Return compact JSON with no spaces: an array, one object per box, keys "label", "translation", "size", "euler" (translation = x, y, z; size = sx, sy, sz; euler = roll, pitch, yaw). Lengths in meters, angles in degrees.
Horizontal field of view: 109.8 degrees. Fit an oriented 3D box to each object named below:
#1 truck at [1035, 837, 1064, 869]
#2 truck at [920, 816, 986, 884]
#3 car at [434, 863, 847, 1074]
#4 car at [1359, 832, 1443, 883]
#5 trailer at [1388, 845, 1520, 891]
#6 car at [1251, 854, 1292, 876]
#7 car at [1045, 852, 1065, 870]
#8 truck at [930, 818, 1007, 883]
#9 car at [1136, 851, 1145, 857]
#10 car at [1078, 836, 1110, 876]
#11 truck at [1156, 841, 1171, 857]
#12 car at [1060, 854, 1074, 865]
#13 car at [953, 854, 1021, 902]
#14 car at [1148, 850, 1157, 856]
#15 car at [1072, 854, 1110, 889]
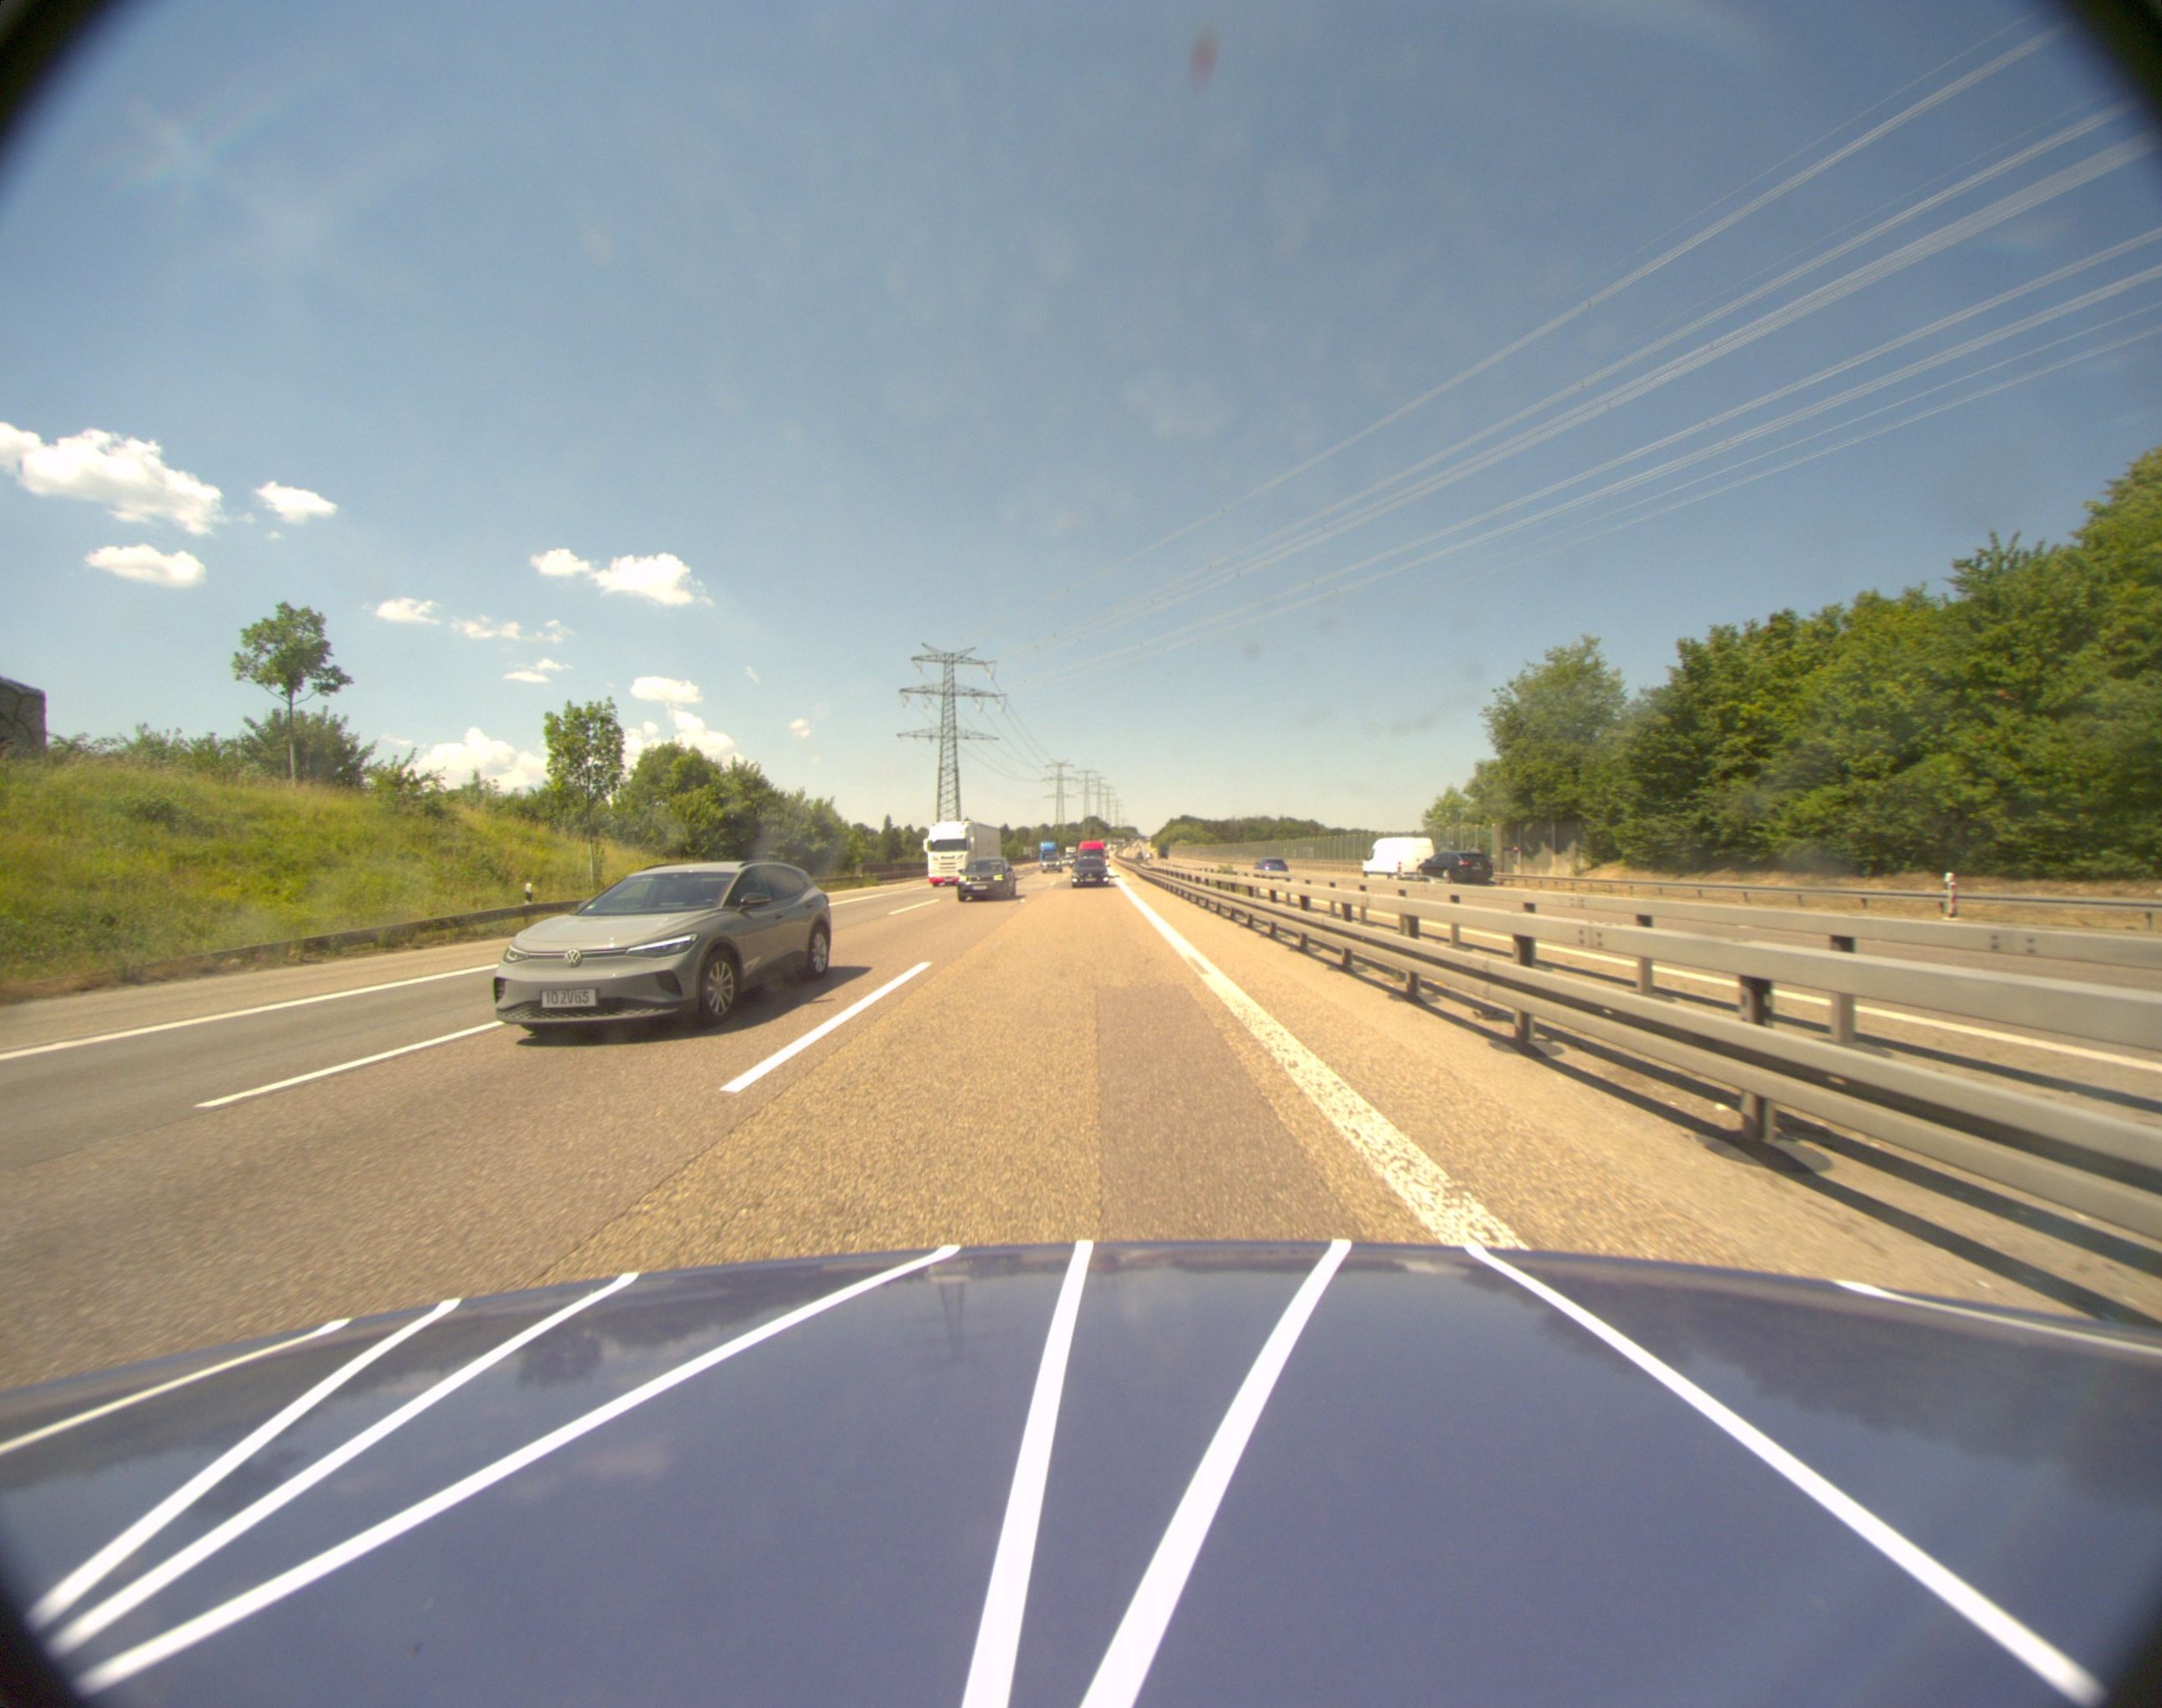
[{"label":"truck","translation":[-5.361,-0.197,131.982],"size":[3.797,4.970,14.924],"euler":[-2,0,1]},{"label":"truck","translation":[-7.694,-0.228,46.174],"size":[3.076,3.885,3.847],"euler":[-2,0,1]},{"label":"car","translation":[-4.383,0.982,8.633],"size":[1.873,1.627,4.586],"euler":[-2,0,1]},{"label":"car","translation":[17.623,0.173,42.233],"size":[2.114,2.624,6.004],"euler":[1,0,1]},{"label":"trailer","translation":[17.312,0.591,35.841],"size":[2.772,1.934,6.722],"euler":[1,0,-1]},{"label":"car","translation":[13.200,0.735,52.879],"size":[1.786,1.465,4.355],"euler":[2,0,2]},{"label":"car","translation":[-2.527,0.641,75.406],"size":[1.749,1.691,4.089],"euler":[0,0,2]},{"label":"truck","translation":[-7.555,-0.227,53.104],"size":[3.076,3.885,12.504],"euler":[-2,0,1]},{"label":"car","translation":[13.640,-0.031,174.340],"size":[1.786,1.465,4.489],"euler":[0,0,1]},{"label":"car","translation":[0.900,0.136,52.114],"size":[2.100,2.598,4.496],"euler":[0,0,2]},{"label":"truck","translation":[22.871,-1.357,211.255],"size":[3.315,4.113,11.091],"euler":[1,0,1]},{"label":"car","translation":[-2.006,0.840,112.221],"size":[1.879,1.591,3.689],"euler":[0,0,2]},{"label":"car","translation":[-3.508,0.861,29.230],"size":[1.955,1.636,4.047],"euler":[-3,0,1]},{"label":"car","translation":[19.148,-0.348,203.492],"size":[1.786,1.595,4.047],"euler":[0,-1,-1]},{"label":"car","translation":[0.497,0.793,36.253],"size":[1.735,1.535,3.750],"euler":[0,0,1]}]
